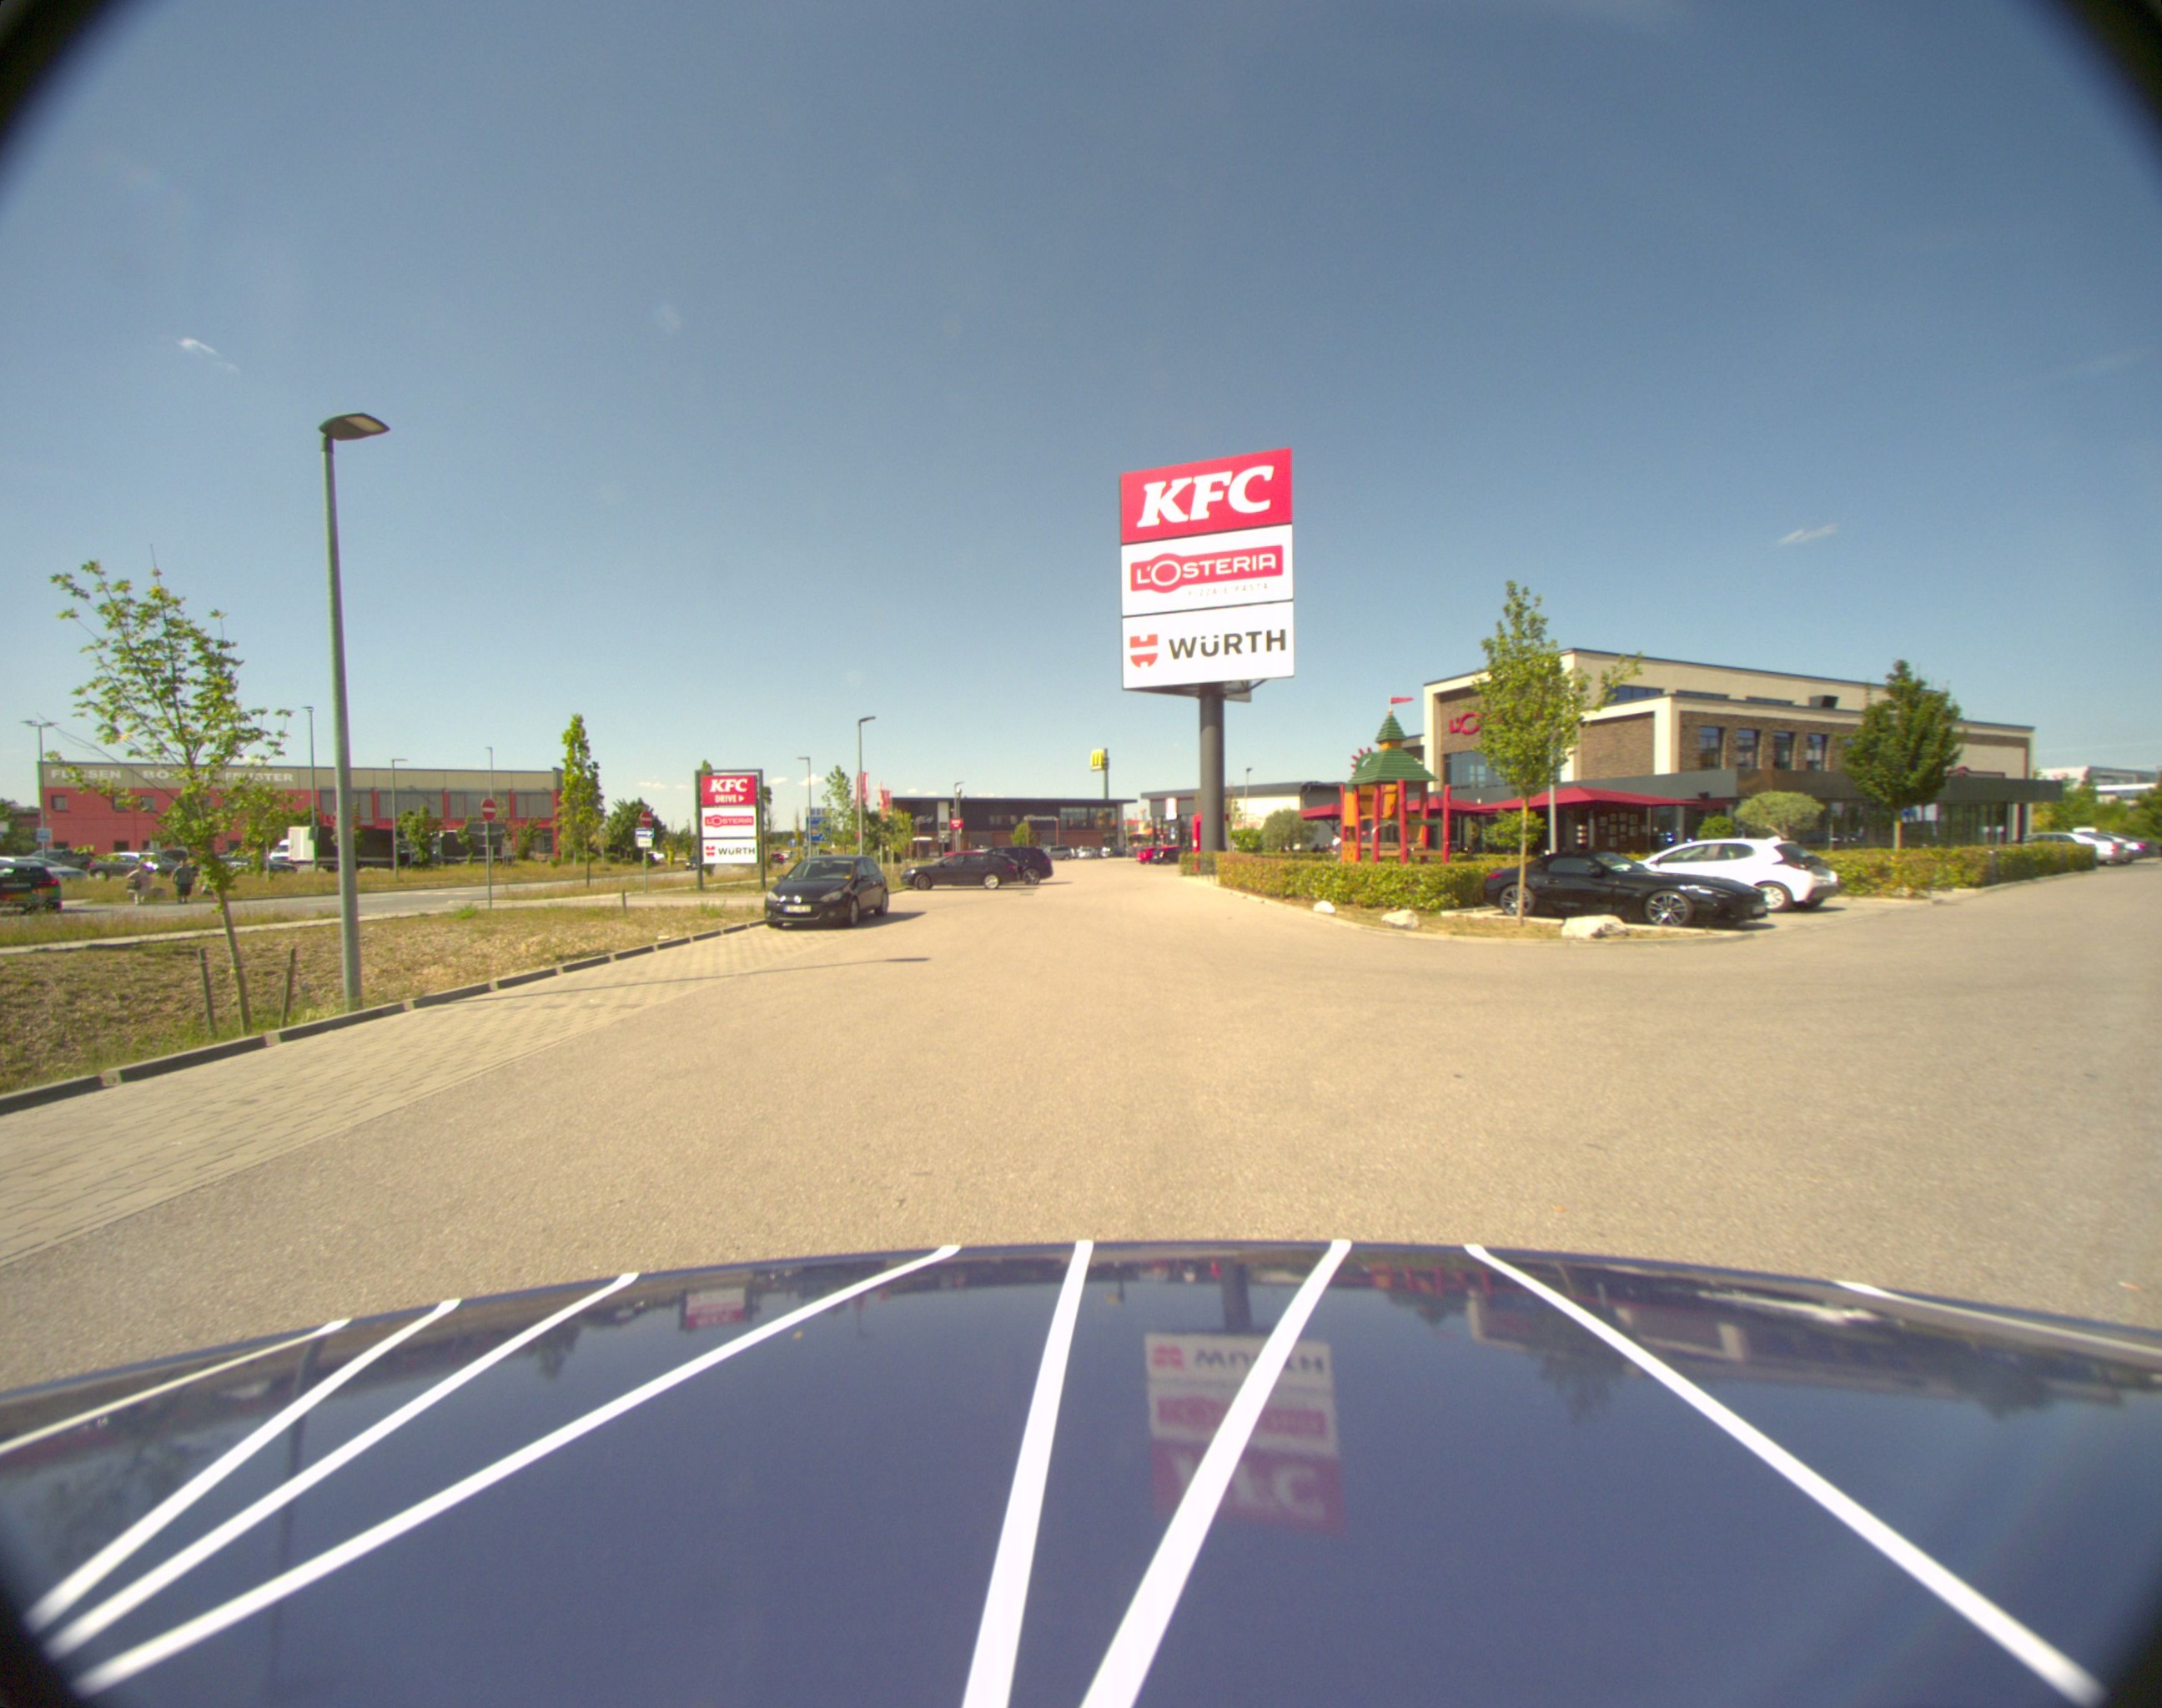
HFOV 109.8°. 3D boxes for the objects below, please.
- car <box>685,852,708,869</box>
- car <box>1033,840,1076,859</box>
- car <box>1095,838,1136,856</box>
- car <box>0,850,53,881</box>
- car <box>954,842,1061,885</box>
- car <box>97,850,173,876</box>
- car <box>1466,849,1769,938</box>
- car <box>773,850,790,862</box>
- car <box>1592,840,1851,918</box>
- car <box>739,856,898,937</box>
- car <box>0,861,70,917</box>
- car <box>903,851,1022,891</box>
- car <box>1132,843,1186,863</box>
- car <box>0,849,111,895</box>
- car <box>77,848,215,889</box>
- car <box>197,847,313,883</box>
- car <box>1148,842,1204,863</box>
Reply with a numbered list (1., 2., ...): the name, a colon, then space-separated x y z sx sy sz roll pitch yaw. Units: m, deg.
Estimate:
1. car: -38.074 0.617 75.289 1.831 1.532 3.992 -2 1 -24
2. car: -3.043 -0.557 86.460 4.489 2.002 1.996 -2 2 -21
3. car: 4.191 -0.865 91.917 4.489 2.002 1.996 -2 2 -21
4. car: -70.862 0.761 49.762 2.002 2.026 4.476 -2 1 -20
5. car: -3.310 0.409 34.652 4.528 1.825 2.000 -1 1 5
6. car: -81.327 0.735 65.401 2.002 2.026 4.476 -2 1 -20
7. car: 9.570 0.597 13.900 1.834 1.330 4.143 -2 1 -33
8. car: -41.343 0.220 104.854 1.831 1.532 3.991 -2 2 -25
9. car: 13.688 0.457 16.499 1.806 1.466 3.905 -1 1 -28
10. car: -5.544 0.817 16.709 1.877 1.457 4.363 -1 1 1
11. car: -33.094 1.056 23.336 4.748 1.542 1.950 -1 2 31
12. car: -4.650 0.664 30.456 4.532 1.450 1.999 -1 1 -5
13. car: 6.613 -0.117 64.354 4.100 1.557 1.875 -1 1 -21
14. car: -50.378 0.864 36.470 4.484 2.026 1.998 -2 1 -9
15. car: -50.900 0.778 41.453 4.484 2.026 1.998 -2 1 -9
16. car: -51.047 0.670 47.053 4.484 2.026 1.998 -2 1 -9
17. car: 7.735 -0.141 61.869 4.100 1.557 1.875 -1 1 -21
